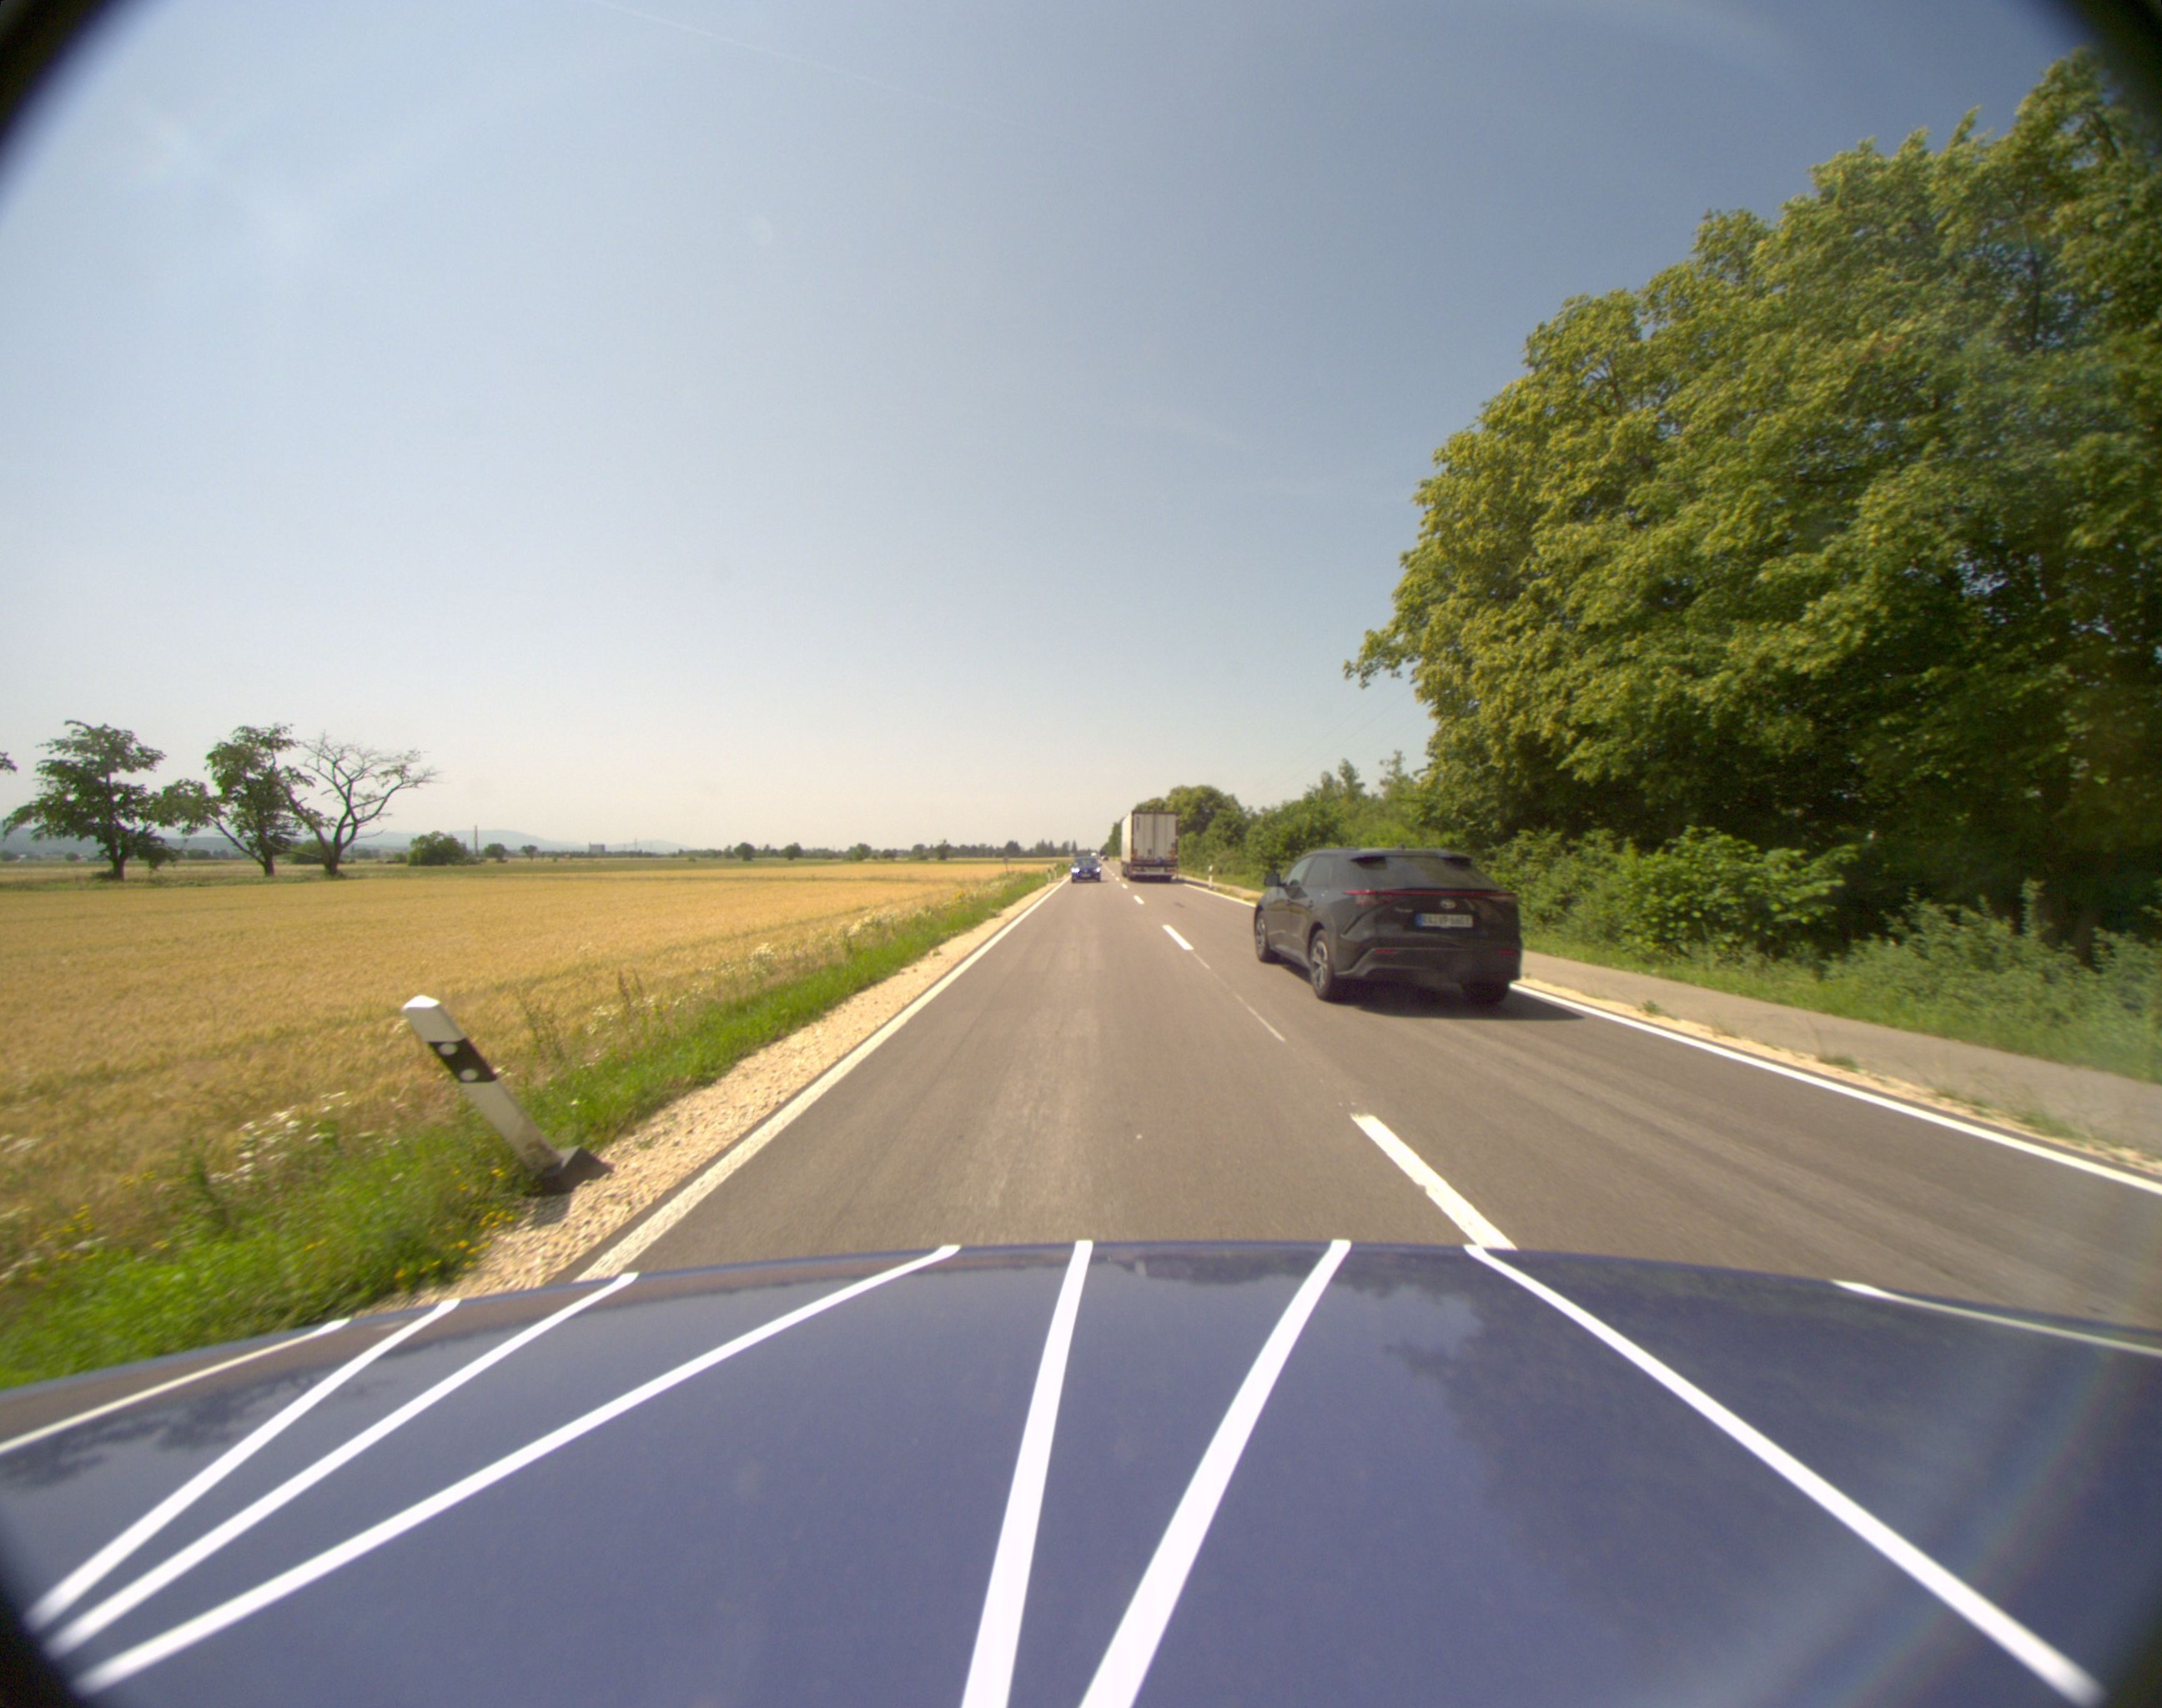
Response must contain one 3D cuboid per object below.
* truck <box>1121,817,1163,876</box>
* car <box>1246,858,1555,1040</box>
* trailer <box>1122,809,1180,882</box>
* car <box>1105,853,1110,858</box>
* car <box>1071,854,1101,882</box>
[{"bbox_3d":[4.314,-0.514,54.860,2.662,3.954,5.727,1,0,1],"label":"truck"},{"bbox_3d":[3.300,0.850,8.949,1.796,1.565,4.479,0,0,1],"label":"car"},{"bbox_3d":[4.199,-0.495,48.311,2.660,3.954,13.354,1,0,1],"label":"trailer"},{"bbox_3d":[8.407,0.519,239.445,1.661,1.508,4.000,0,0,2],"label":"car"},{"bbox_3d":[0.313,0.820,45.881,1.662,1.508,4.000,-2,0,1],"label":"car"}]
